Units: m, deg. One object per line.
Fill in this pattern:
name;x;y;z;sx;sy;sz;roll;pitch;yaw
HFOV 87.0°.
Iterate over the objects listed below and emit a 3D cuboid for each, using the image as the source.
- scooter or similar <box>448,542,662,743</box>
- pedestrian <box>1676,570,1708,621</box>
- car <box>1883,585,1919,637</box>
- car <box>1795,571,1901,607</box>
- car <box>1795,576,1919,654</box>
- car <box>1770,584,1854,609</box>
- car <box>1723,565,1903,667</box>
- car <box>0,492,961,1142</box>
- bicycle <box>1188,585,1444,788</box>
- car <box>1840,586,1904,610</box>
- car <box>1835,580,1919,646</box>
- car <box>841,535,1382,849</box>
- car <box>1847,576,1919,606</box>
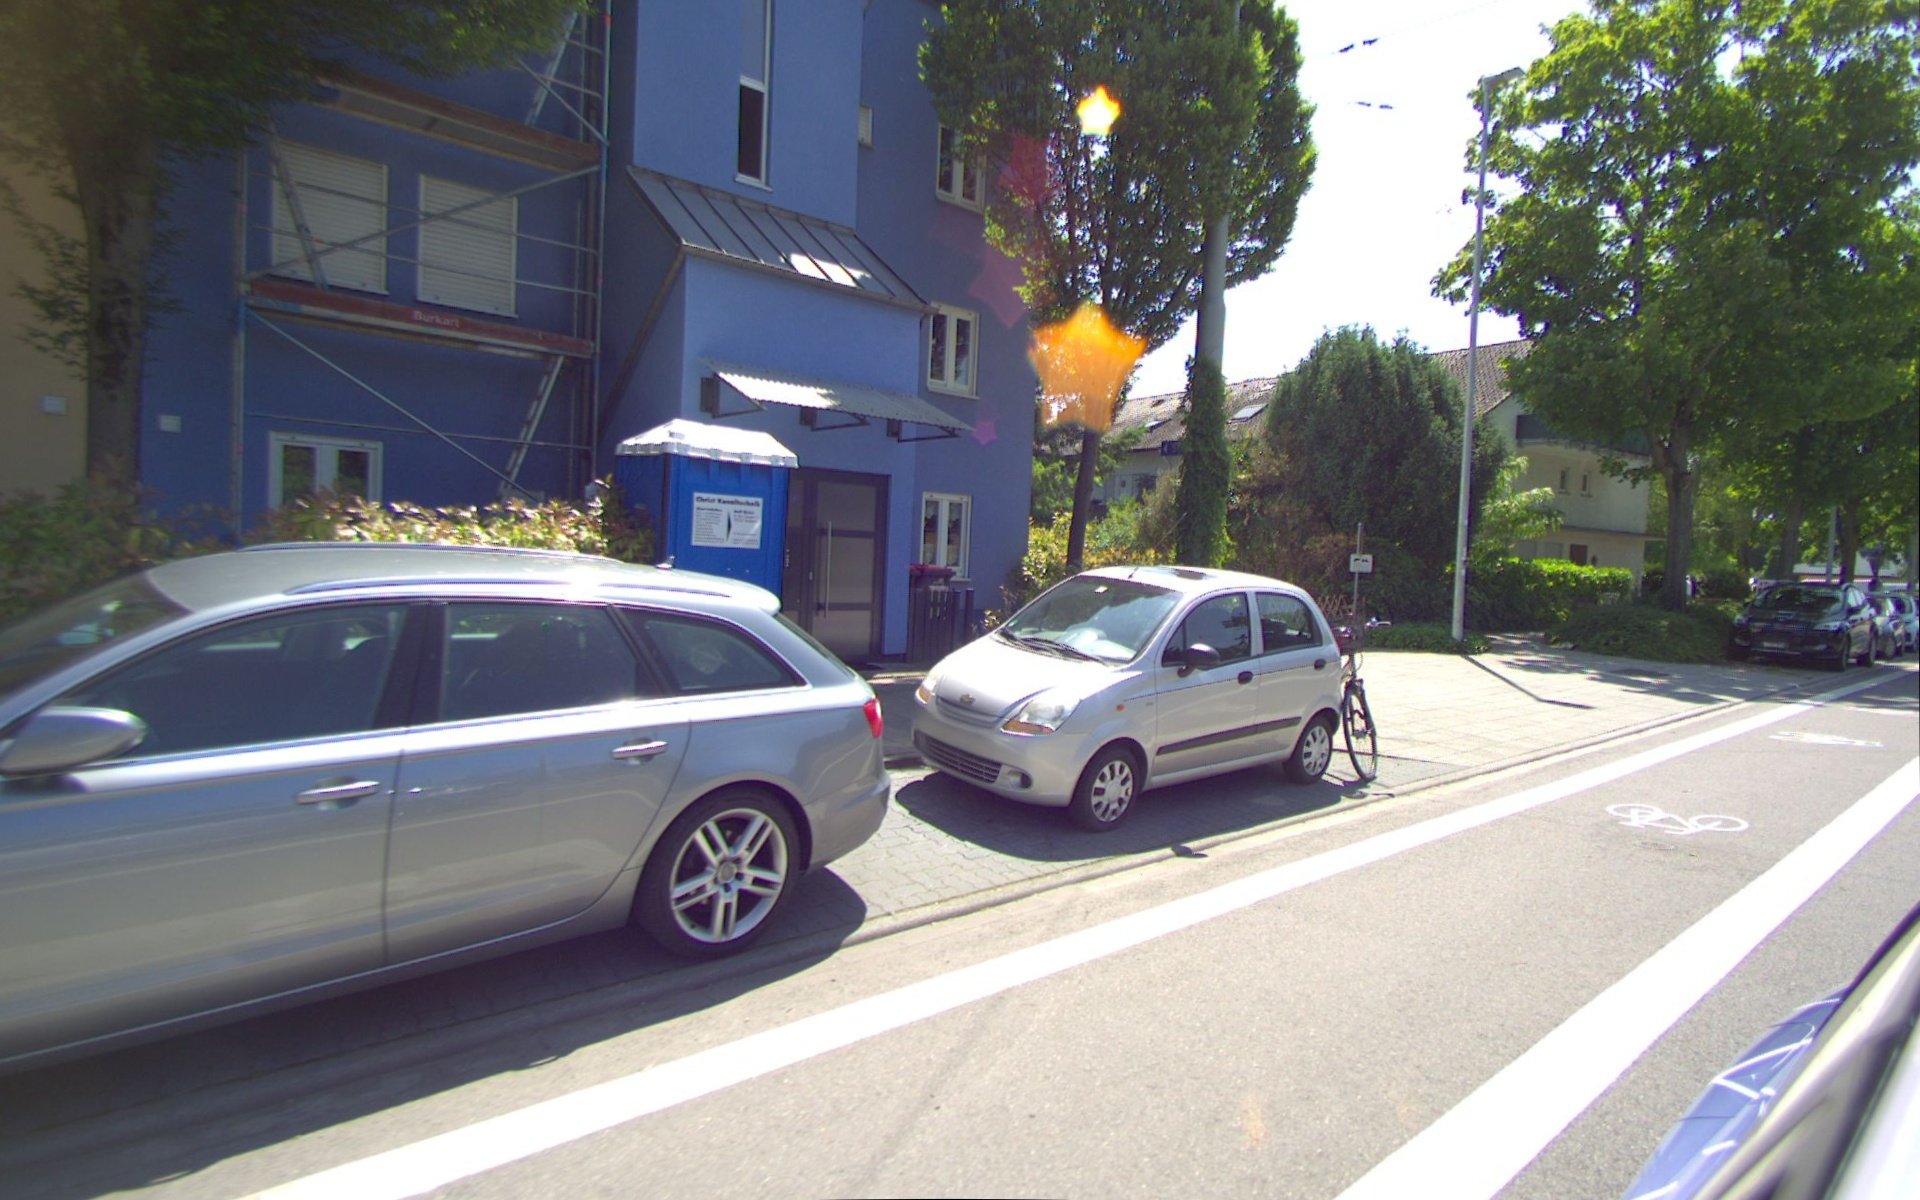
scooter or similar;-2.801;0.267;7.067;1.315;1.296;0.385;0;2;-40
pedestrian;25.470;-0.156;35.234;0.747;1.743;0.623;4;3;44
car;30.531;0.389;31.691;4.742;1.452;1.845;0;6;-42
car;64.926;-0.862;74.081;2.057;2.490;5.504;1;1;-39
car;21.846;0.324;24.476;4.279;1.547;1.845;0;6;-43
car;56.625;-0.247;67.311;1.739;1.509;4.028;0;1;-41
car;17.506;0.292;20.702;4.542;1.726;1.847;1;5;-39
car;-2.444;0.473;3.603;4.882;1.547;1.845;0;6;-43
bicycle;2.818;0.620;8.220;0.670;1.241;1.782;1;8;-35
car;75.161;-0.163;83.388;1.922;1.806;3.783;0;1;-44
car;25.938;0.328;28.177;4.135;1.547;1.845;0;6;-43
car;1.208;0.458;7.028;3.748;1.547;1.524;1;6;-40
car;83.262;-0.778;89.913;2.221;2.560;6.360;1;1;-36
